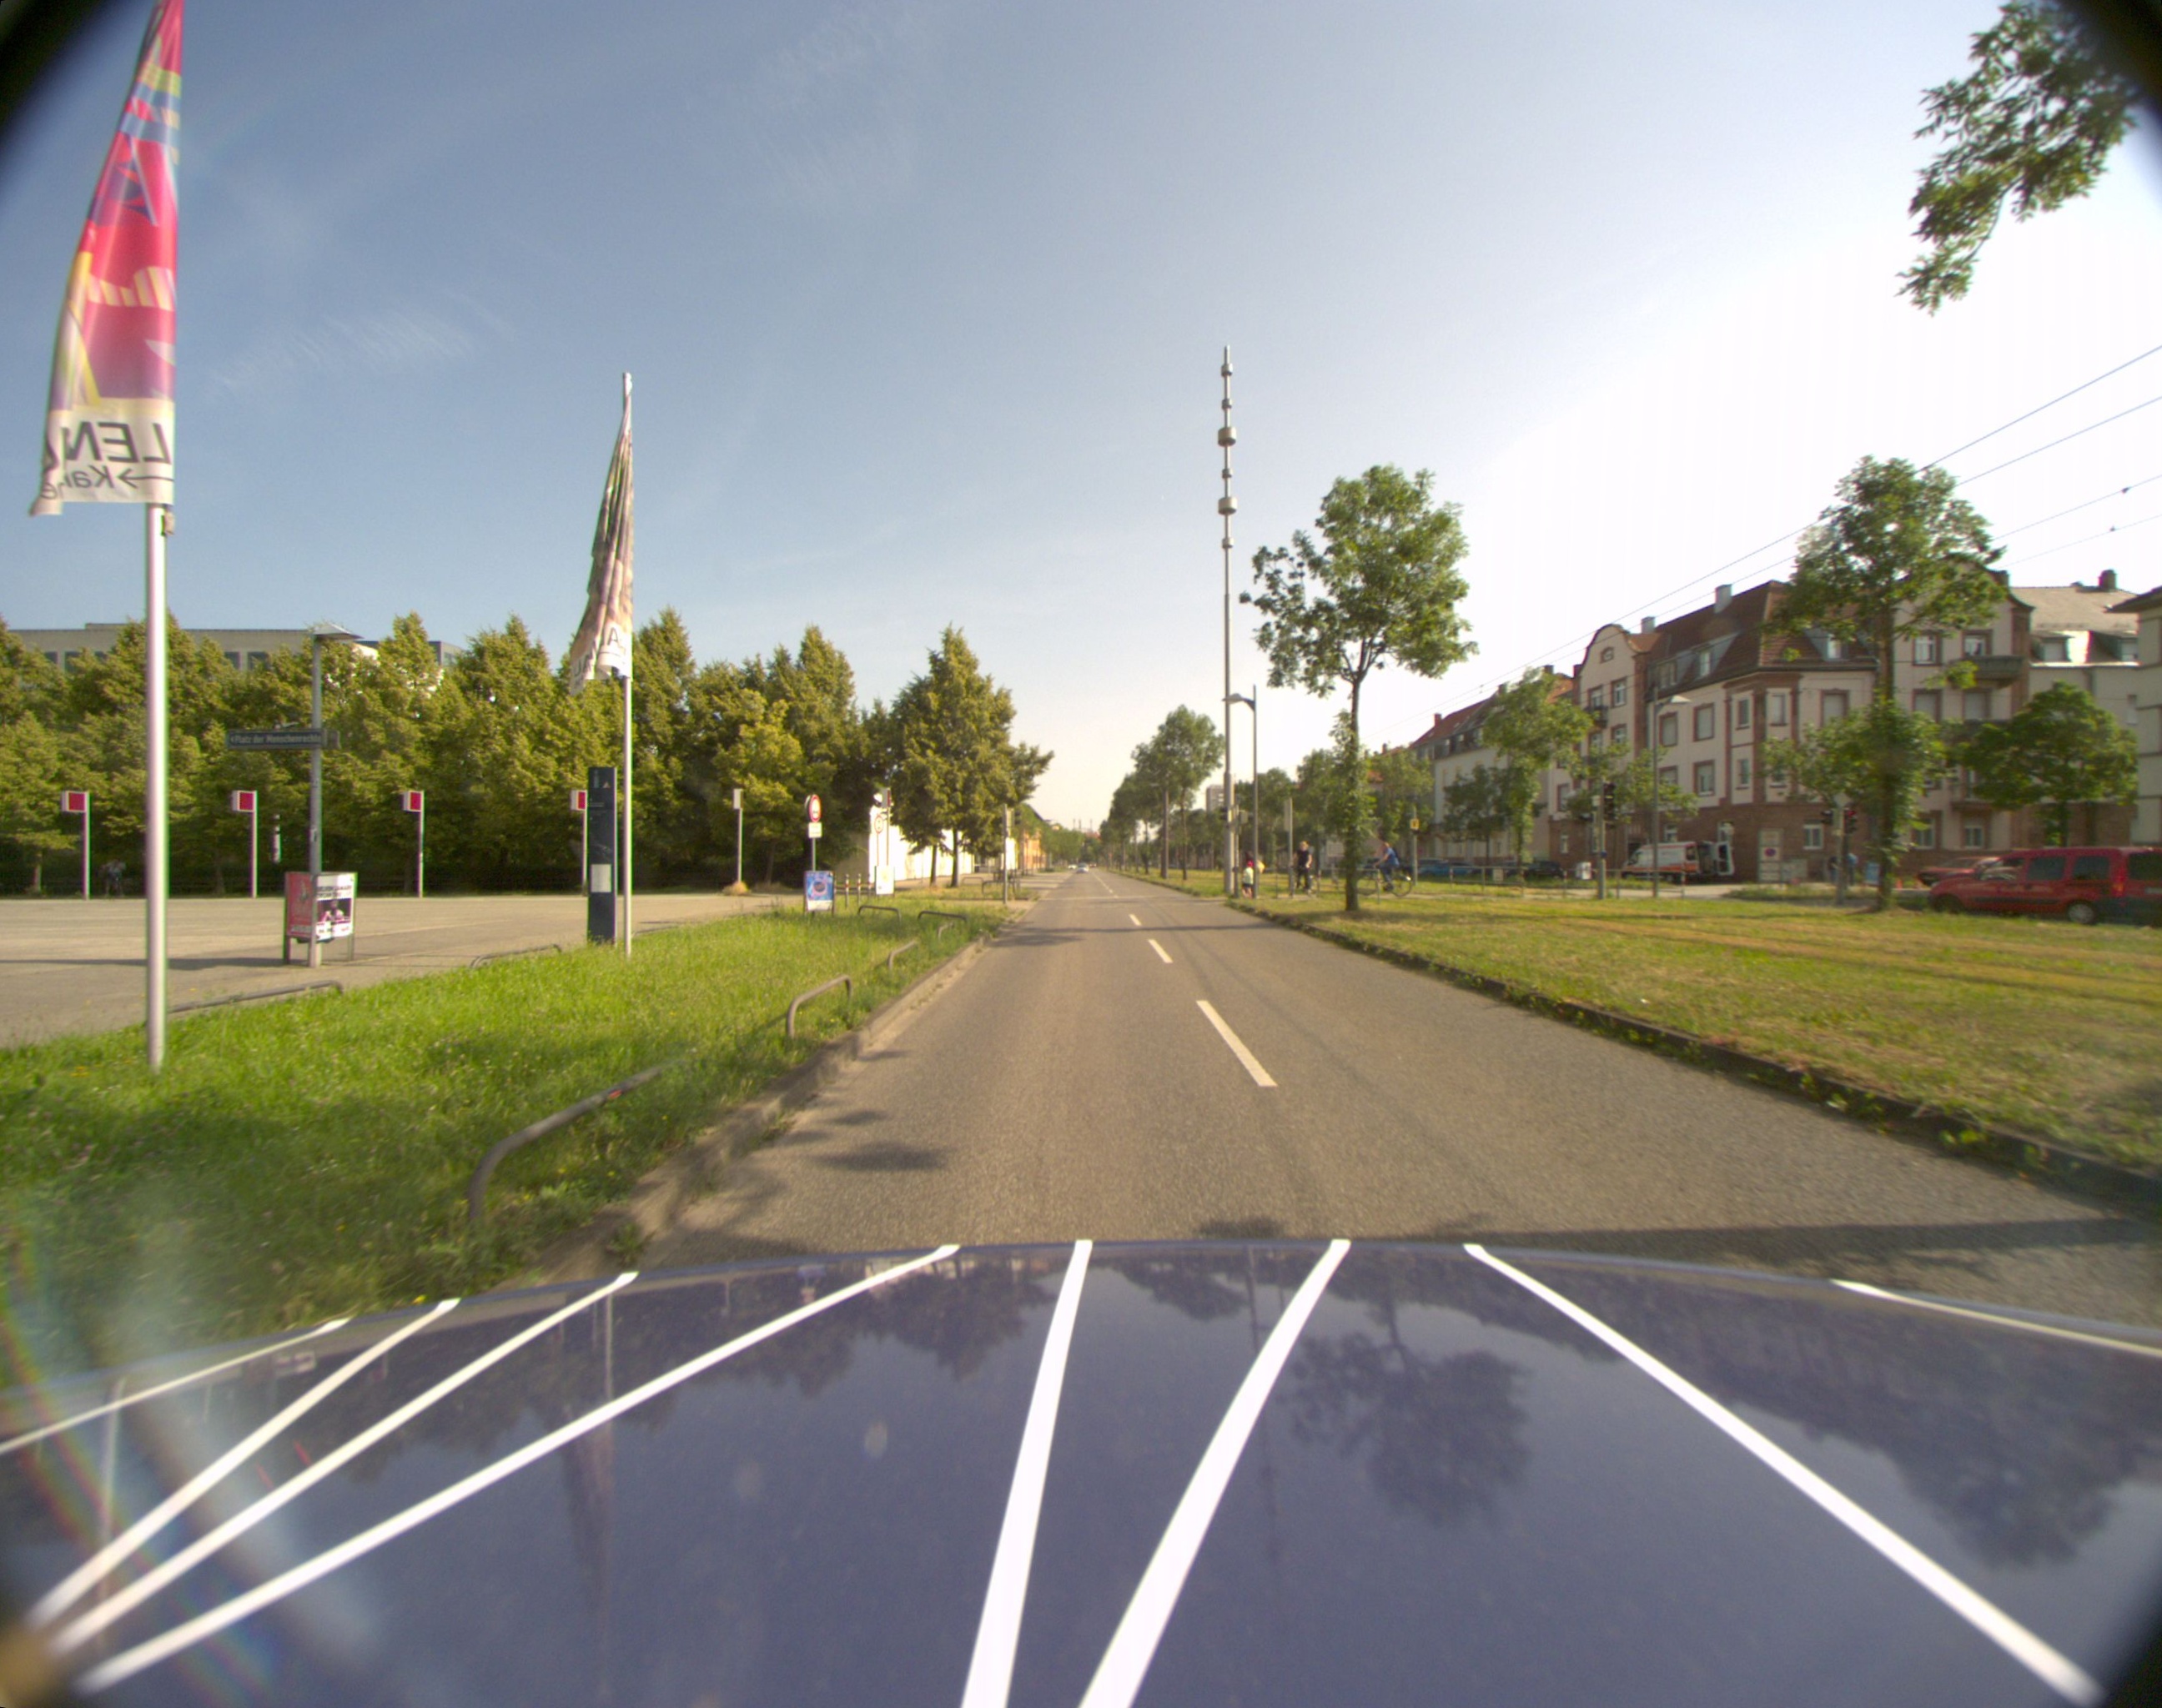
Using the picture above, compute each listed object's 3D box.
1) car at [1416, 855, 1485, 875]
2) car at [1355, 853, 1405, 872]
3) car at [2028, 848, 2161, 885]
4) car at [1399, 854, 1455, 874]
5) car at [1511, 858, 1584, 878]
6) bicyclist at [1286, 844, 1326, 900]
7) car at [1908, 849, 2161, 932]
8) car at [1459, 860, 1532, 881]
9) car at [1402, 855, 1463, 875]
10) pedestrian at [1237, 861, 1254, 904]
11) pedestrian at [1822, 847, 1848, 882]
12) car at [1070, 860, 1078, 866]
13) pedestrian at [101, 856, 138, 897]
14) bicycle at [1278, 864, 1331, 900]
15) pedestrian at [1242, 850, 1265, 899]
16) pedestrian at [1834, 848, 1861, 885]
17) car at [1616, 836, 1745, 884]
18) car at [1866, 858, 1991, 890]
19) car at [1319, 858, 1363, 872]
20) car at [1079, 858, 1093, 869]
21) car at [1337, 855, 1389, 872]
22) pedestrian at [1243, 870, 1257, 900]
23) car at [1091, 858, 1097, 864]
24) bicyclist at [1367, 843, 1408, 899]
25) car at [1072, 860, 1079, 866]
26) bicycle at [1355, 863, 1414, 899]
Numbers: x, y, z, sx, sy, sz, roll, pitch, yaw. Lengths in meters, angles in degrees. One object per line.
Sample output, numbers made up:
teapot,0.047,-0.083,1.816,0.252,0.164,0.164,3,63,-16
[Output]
car,28.221,0.848,58.082,4.503,1.432,2.004,-2,0,32
car,27.441,0.786,69.759,3.989,1.696,1.878,-2,0,29
car,43.094,0.504,31.589,1.611,1.461,4.486,0,-1,-31
car,29.022,0.863,63.746,4.053,1.545,1.919,-2,0,31
car,29.118,0.889,47.479,3.840,1.121,1.772,-2,0,32
bicyclist,7.420,0.583,25.064,0.872,1.812,0.906,0,1,-27
car,22.726,0.774,17.978,1.820,1.727,4.161,1,0,2
car,28.954,1.161,53.046,4.332,1.318,2.004,-2,0,32
car,28.278,0.857,61.088,4.182,1.494,1.945,-2,0,33
pedestrian,5.234,0.884,24.153,0.456,1.350,0.549,0,0,22
pedestrian,37.581,0.507,37.877,0.669,1.738,0.633,-2,1,1
car,-1.907,2.291,199.221,1.998,1.652,4.000,0,0,0
pedestrian,-42.840,0.991,33.871,0.807,1.811,0.736,0,0,-30
bicycle,7.374,0.904,25.091,1.755,1.139,0.575,0,0,-26
pedestrian,5.715,0.683,25.146,0.610,1.594,0.736,0,0,22
pedestrian,37.342,0.594,37.014,0.669,1.738,0.633,-2,1,1
car,35.280,0.335,45.078,2.354,2.549,6.507,-2,0,-1
car,42.909,1.014,38.559,3.996,1.455,2.000,-2,0,3
car,30.188,1.293,88.312,4.490,1.482,2.004,-2,0,29
car,0.758,1.504,116.645,1.998,1.652,4.000,0,0,0
car,27.671,0.927,74.529,4.490,1.596,2.004,-2,0,29
pedestrian,5.474,0.994,24.606,0.411,0.975,0.421,0,0,21
car,4.147,2.181,239.341,1.998,1.652,4.000,0,0,0
bicyclist,10.321,0.555,25.609,1.185,1.840,0.911,-2,1,18
car,-1.474,2.489,216.137,1.998,1.652,4.000,0,0,0
bicycle,10.216,0.905,25.627,1.789,1.139,0.577,-2,1,18
